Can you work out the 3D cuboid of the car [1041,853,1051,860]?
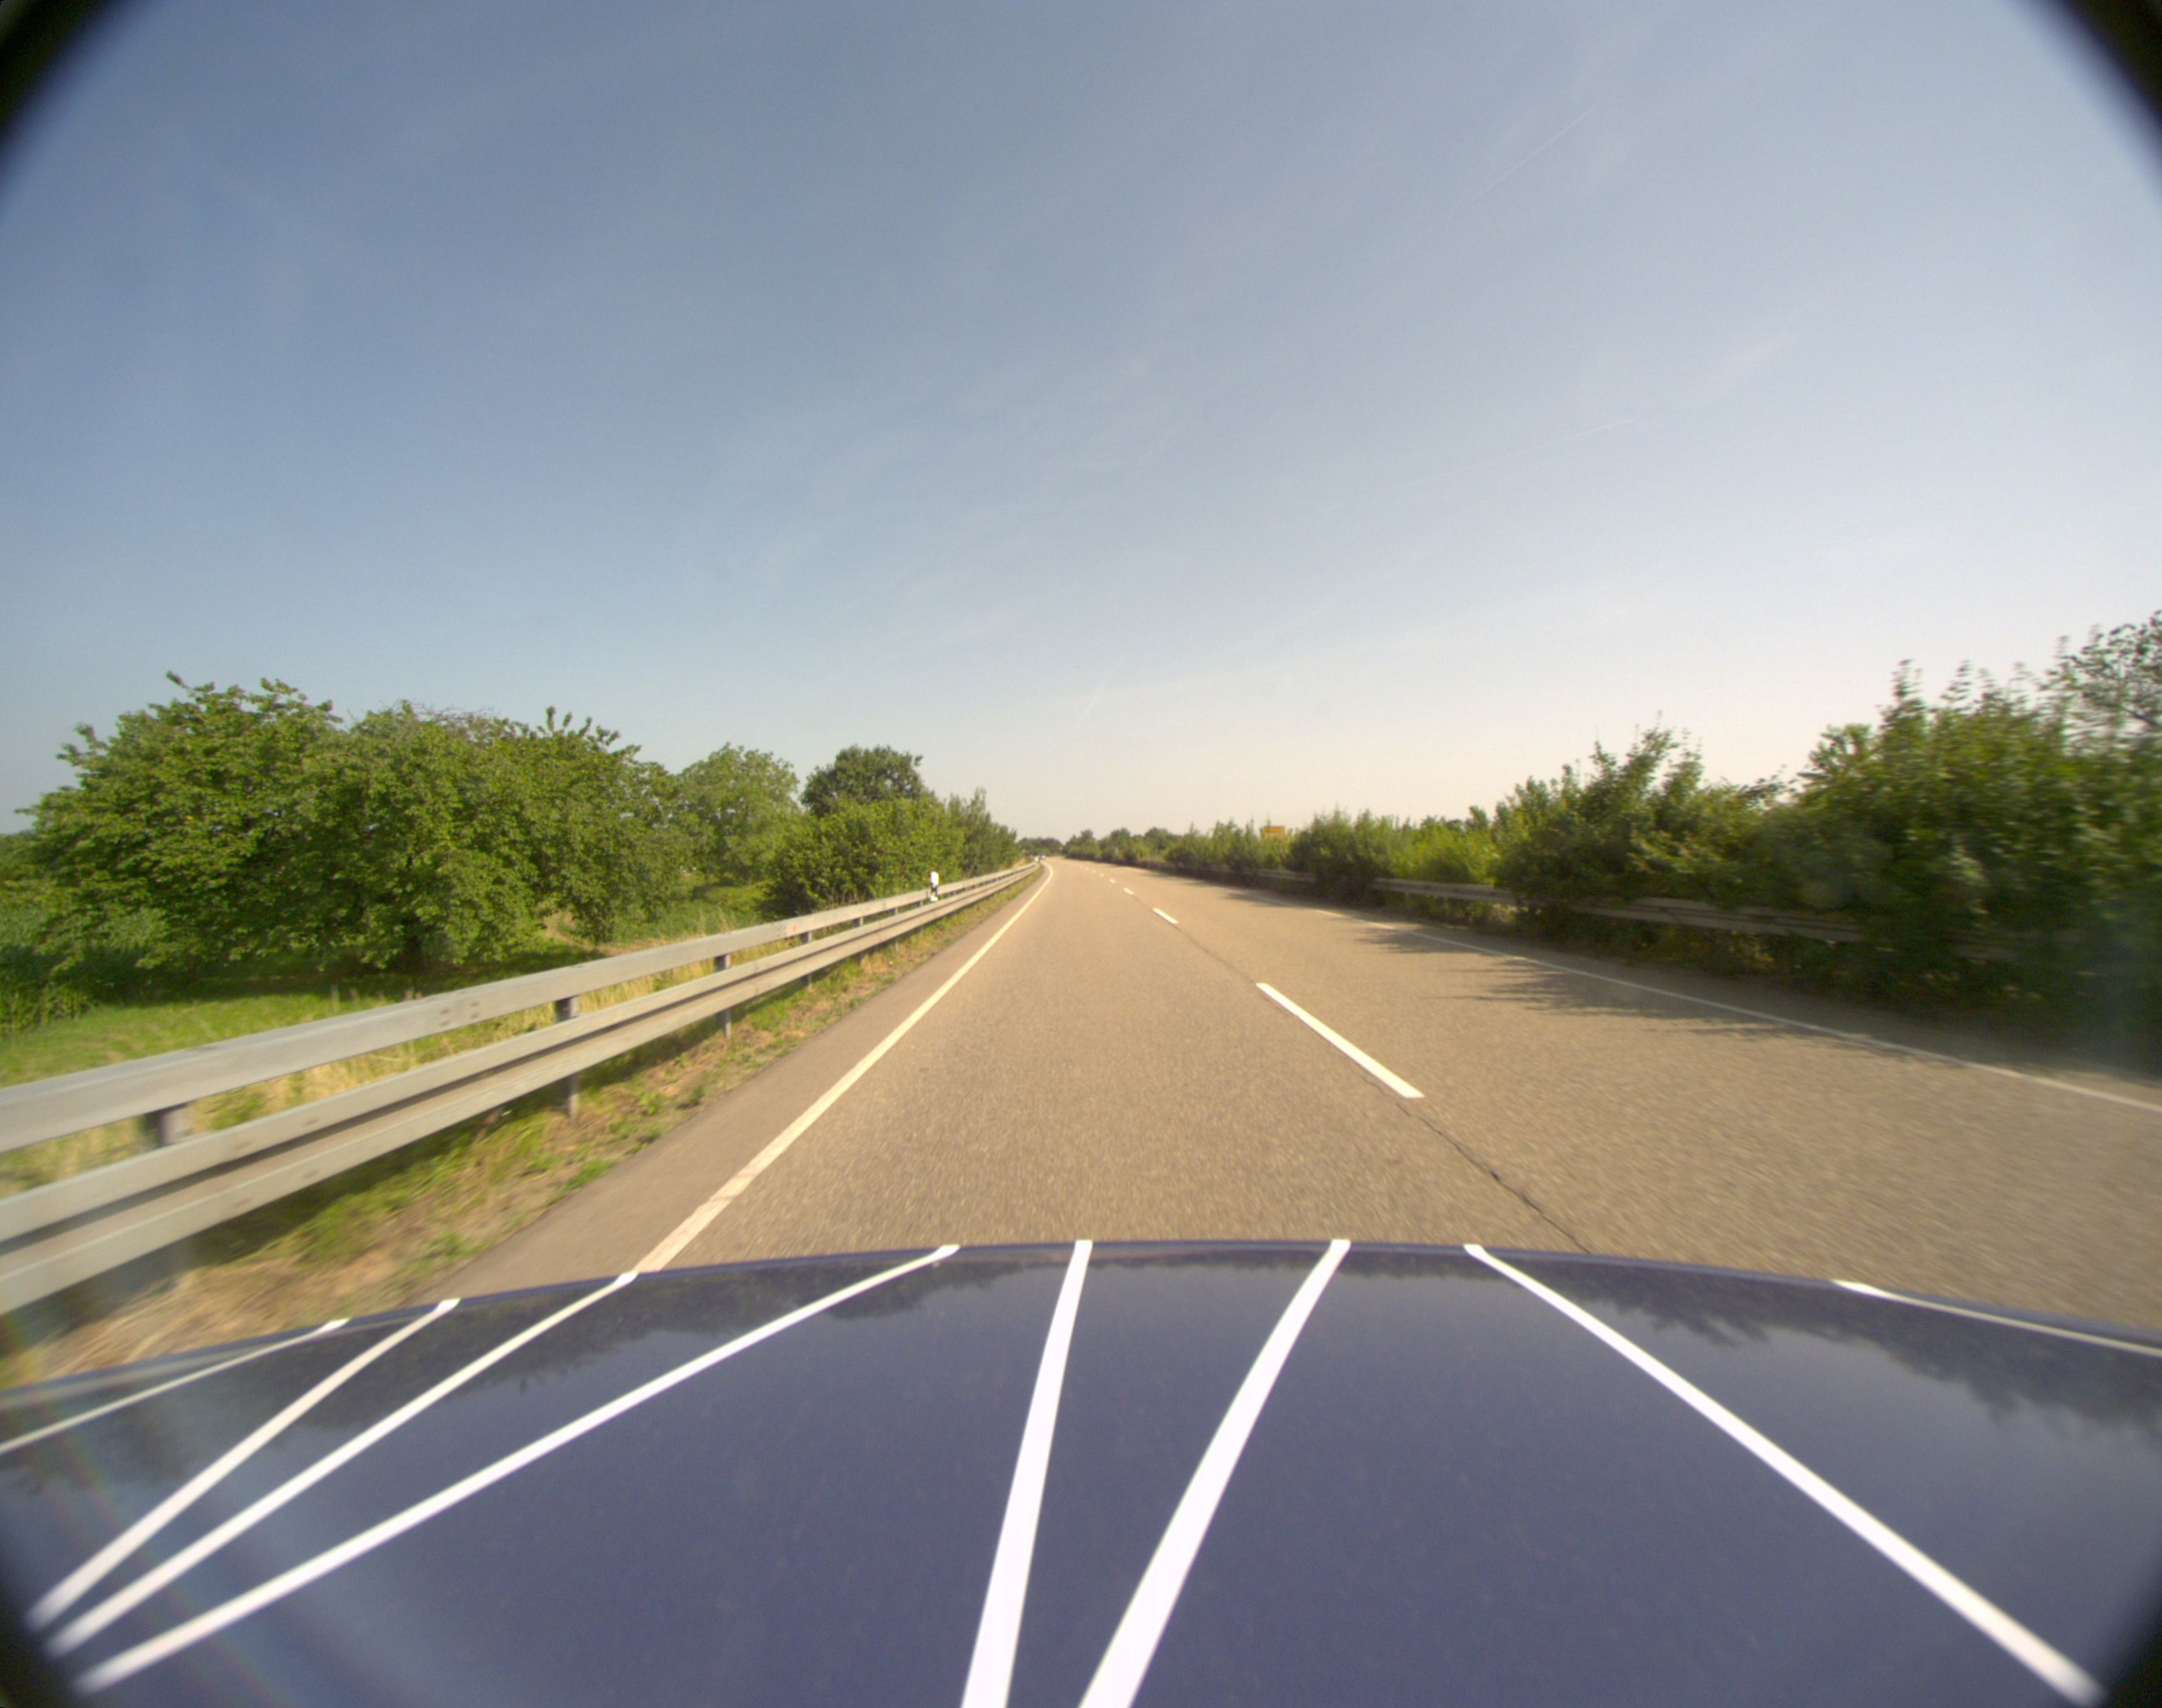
[{"bbox_3d":[-8.503,0.541,183.813,1.704,1.474,3.596,-3,0,-14],"label":"car"}]
